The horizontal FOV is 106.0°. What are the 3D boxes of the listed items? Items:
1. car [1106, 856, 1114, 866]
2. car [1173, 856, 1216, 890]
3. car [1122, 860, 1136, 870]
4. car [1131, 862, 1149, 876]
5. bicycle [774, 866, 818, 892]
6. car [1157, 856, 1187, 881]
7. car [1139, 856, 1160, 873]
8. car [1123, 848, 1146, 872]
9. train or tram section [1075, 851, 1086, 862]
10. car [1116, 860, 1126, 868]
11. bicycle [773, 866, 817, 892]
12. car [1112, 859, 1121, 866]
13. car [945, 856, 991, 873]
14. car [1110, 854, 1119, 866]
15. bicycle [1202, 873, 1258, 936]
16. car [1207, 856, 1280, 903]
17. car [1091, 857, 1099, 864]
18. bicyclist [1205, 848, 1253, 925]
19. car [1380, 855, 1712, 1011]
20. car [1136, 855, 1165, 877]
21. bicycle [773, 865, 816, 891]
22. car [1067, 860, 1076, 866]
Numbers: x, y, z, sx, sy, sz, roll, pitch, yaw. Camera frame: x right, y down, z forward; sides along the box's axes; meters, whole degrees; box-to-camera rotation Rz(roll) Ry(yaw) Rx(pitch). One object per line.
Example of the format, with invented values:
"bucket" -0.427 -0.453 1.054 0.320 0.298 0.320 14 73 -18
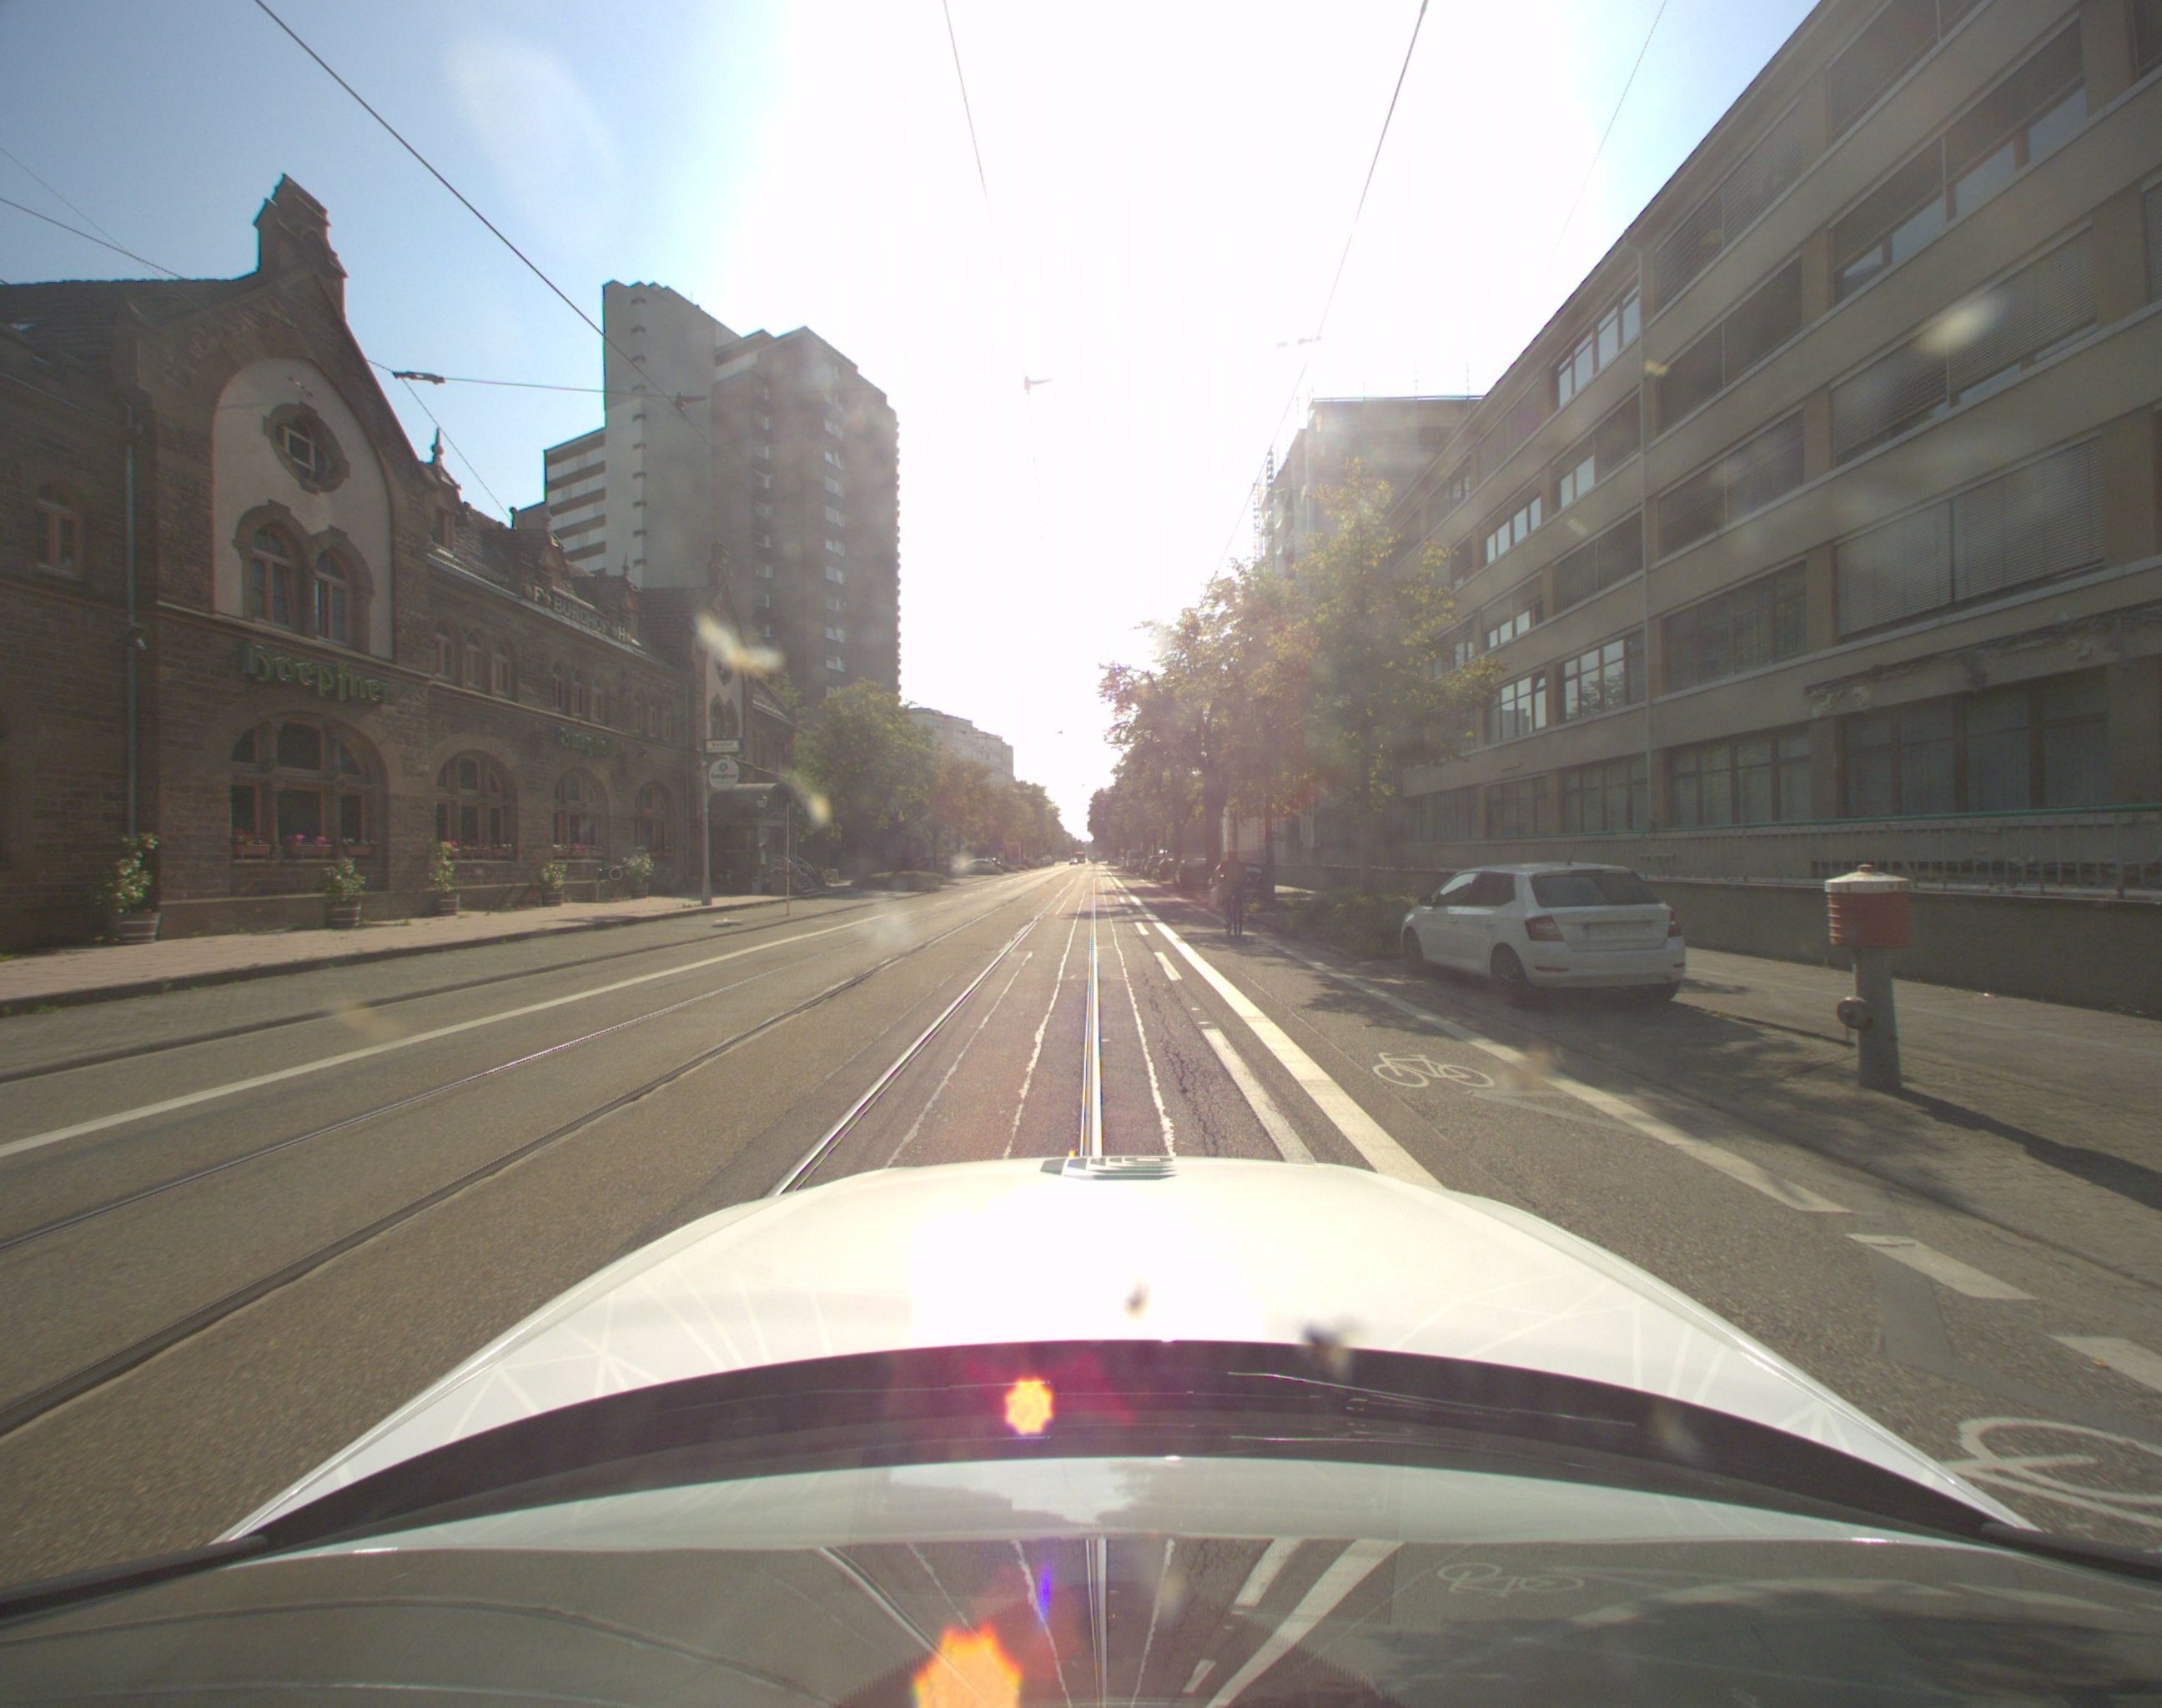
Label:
"car" 7.605 1.901 214.956 1.997 2.475 4.478 -2 -1 2
"car" 5.502 0.908 39.867 1.640 1.511 3.779 -3 -1 1
"car" 6.657 1.525 113.032 1.747 1.377 4.719 -3 -1 1
"car" 6.074 1.496 83.767 1.610 1.374 4.828 -2 -1 2
"bicycle" -13.027 1.149 37.195 1.809 1.074 0.418 4 -2 -22
"car" 5.850 0.913 52.557 1.570 1.485 3.739 -3 0 1
"car" 6.192 0.954 73.506 1.611 1.413 4.001 -2 -1 1
"car" 6.105 0.694 93.951 2.076 2.552 5.499 -4 -1 -1
"train or tram section" 0.012 0.690 227.970 2.719 2.894 15.456 -1 -1 1
"car" 7.155 1.810 146.591 1.683 1.418 3.635 -1 -1 2
"bicycle" -13.214 1.157 37.623 1.809 1.074 0.418 4 -2 -22
"car" 6.981 1.652 160.286 1.589 1.418 3.635 -1 -1 2
"car" -10.796 1.020 77.848 4.006 1.479 1.774 -1 -1 -25
"car" 7.825 1.443 188.518 1.997 2.491 4.478 -1 -2 2
"bicycle" 2.940 0.963 16.285 0.784 1.144 2.306 -1 -1 3
"car" 5.459 0.830 27.845 1.641 1.428 4.084 -3 0 0
"car" 3.604 1.599 206.997 1.986 1.838 4.002 -1 -1 2
"bicyclist" 2.940 0.635 16.279 0.784 1.470 1.117 -1 -1 3
"car" 5.187 0.782 9.793 1.635 1.430 3.987 -2 -1 -1
"car" 5.344 0.899 62.974 1.748 1.691 4.394 0 0 -1
"bicycle" -13.375 1.121 38.058 1.809 1.074 0.418 4 -2 -22
"car" -2.100 1.916 174.331 1.822 1.376 4.512 -1 -1 0
